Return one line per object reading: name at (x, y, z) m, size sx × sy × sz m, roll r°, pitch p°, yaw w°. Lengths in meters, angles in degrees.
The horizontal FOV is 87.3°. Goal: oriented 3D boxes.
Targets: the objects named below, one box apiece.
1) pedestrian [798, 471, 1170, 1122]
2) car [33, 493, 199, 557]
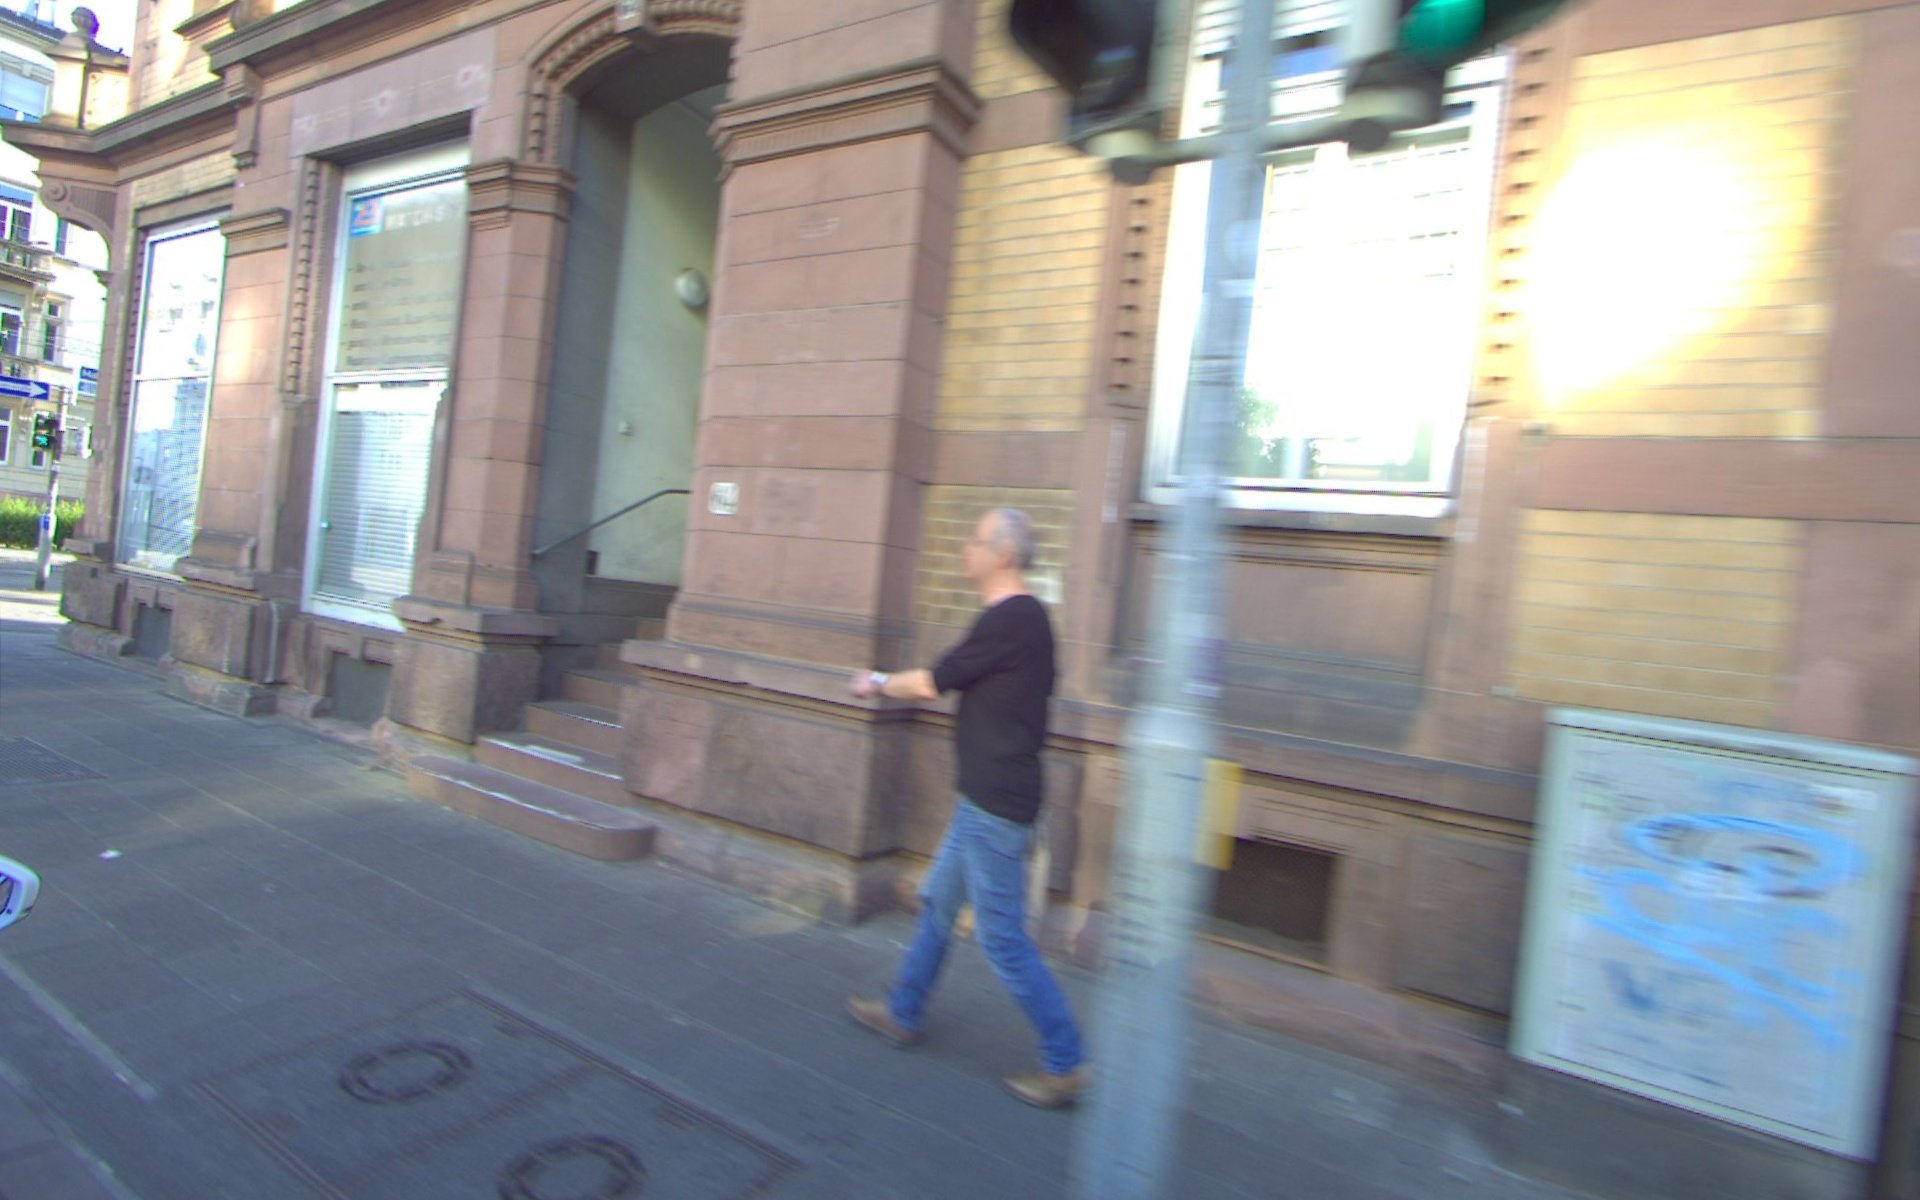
pedestrian at (0.096, 0.529, 3.224) m, size 0.742 × 1.745 × 0.776 m, roll 7°, pitch 2°, yaw 32°
car at (-30.478, -2.674, 36.420) m, size 1.917 × 1.652 × 4.255 m, roll 6°, pitch -1°, yaw 40°
